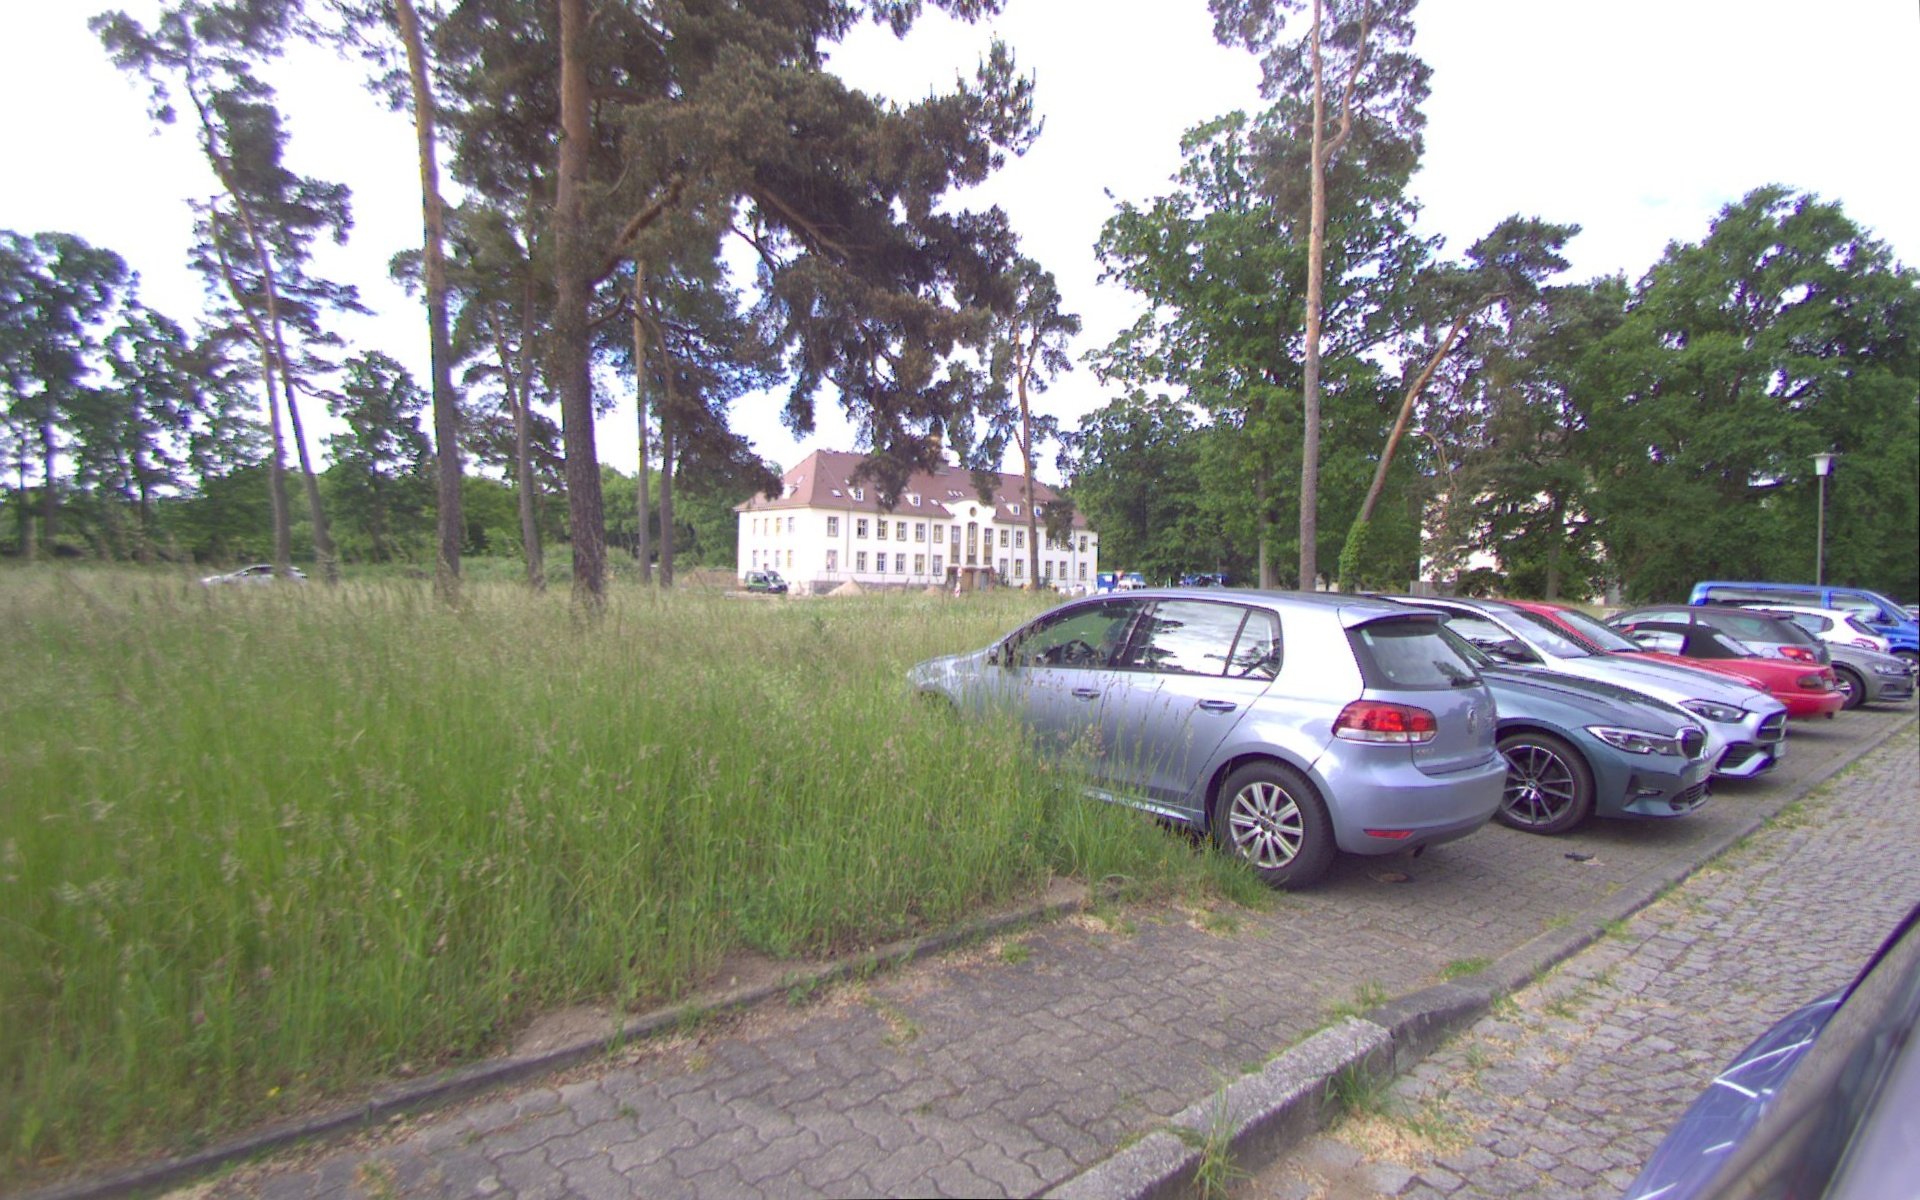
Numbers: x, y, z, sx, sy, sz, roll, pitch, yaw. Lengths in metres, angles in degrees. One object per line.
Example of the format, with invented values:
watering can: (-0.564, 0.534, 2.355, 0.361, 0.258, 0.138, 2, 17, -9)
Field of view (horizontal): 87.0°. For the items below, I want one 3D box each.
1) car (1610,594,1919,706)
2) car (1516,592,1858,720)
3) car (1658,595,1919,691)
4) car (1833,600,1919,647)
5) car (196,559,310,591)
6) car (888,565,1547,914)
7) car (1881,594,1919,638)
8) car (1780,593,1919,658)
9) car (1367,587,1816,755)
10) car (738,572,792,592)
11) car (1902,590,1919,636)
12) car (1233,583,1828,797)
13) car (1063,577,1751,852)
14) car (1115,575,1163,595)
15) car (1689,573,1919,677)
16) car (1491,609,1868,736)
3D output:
car: (13.000, 0.698, 16.329, 1.787, 1.474, 3.850, 1, 1, -38)
car: (10.535, 0.698, 14.846, 1.769, 1.524, 3.782, 1, 1, -43)
car: (14.924, 0.700, 18.349, 1.608, 1.470, 3.408, 1, 1, -40)
car: (32.790, 0.797, 34.791, 1.965, 1.549, 3.994, 1, 0, -40)
car: (-33.151, -1.152, 47.496, 4.186, 1.433, 1.884, 0, 2, -43)
car: (1.334, 0.575, 6.398, 1.578, 1.444, 3.771, 1, 2, -41)
car: (40.470, 0.703, 41.306, 1.964, 1.784, 4.007, 1, 1, -39)
car: (25.354, 0.690, 27.870, 1.965, 1.630, 3.995, 1, 1, -40)
car: (6.969, 0.647, 11.497, 1.768, 1.470, 3.970, 1, 1, -41)
car: (-20.893, -1.939, 108.079, 6.170, 1.882, 2.305, 3, 2, 40)
car: (43.860, 0.627, 43.992, 1.964, 2.039, 3.996, 1, 1, -39)
car: (5.243, 0.641, 9.946, 1.780, 1.501, 4.766, 1, 1, -41)
car: (3.215, 0.621, 8.145, 1.732, 1.501, 4.762, 0, 2, -44)
car: (18.963, -1.554, 107.344, 5.129, 2.039, 2.154, 0, 1, -39)
car: (18.921, 0.477, 21.881, 1.965, 1.963, 4.746, 1, 2, -41)
car: (8.877, 0.796, 12.726, 1.468, 1.222, 3.599, 1, 1, -40)
